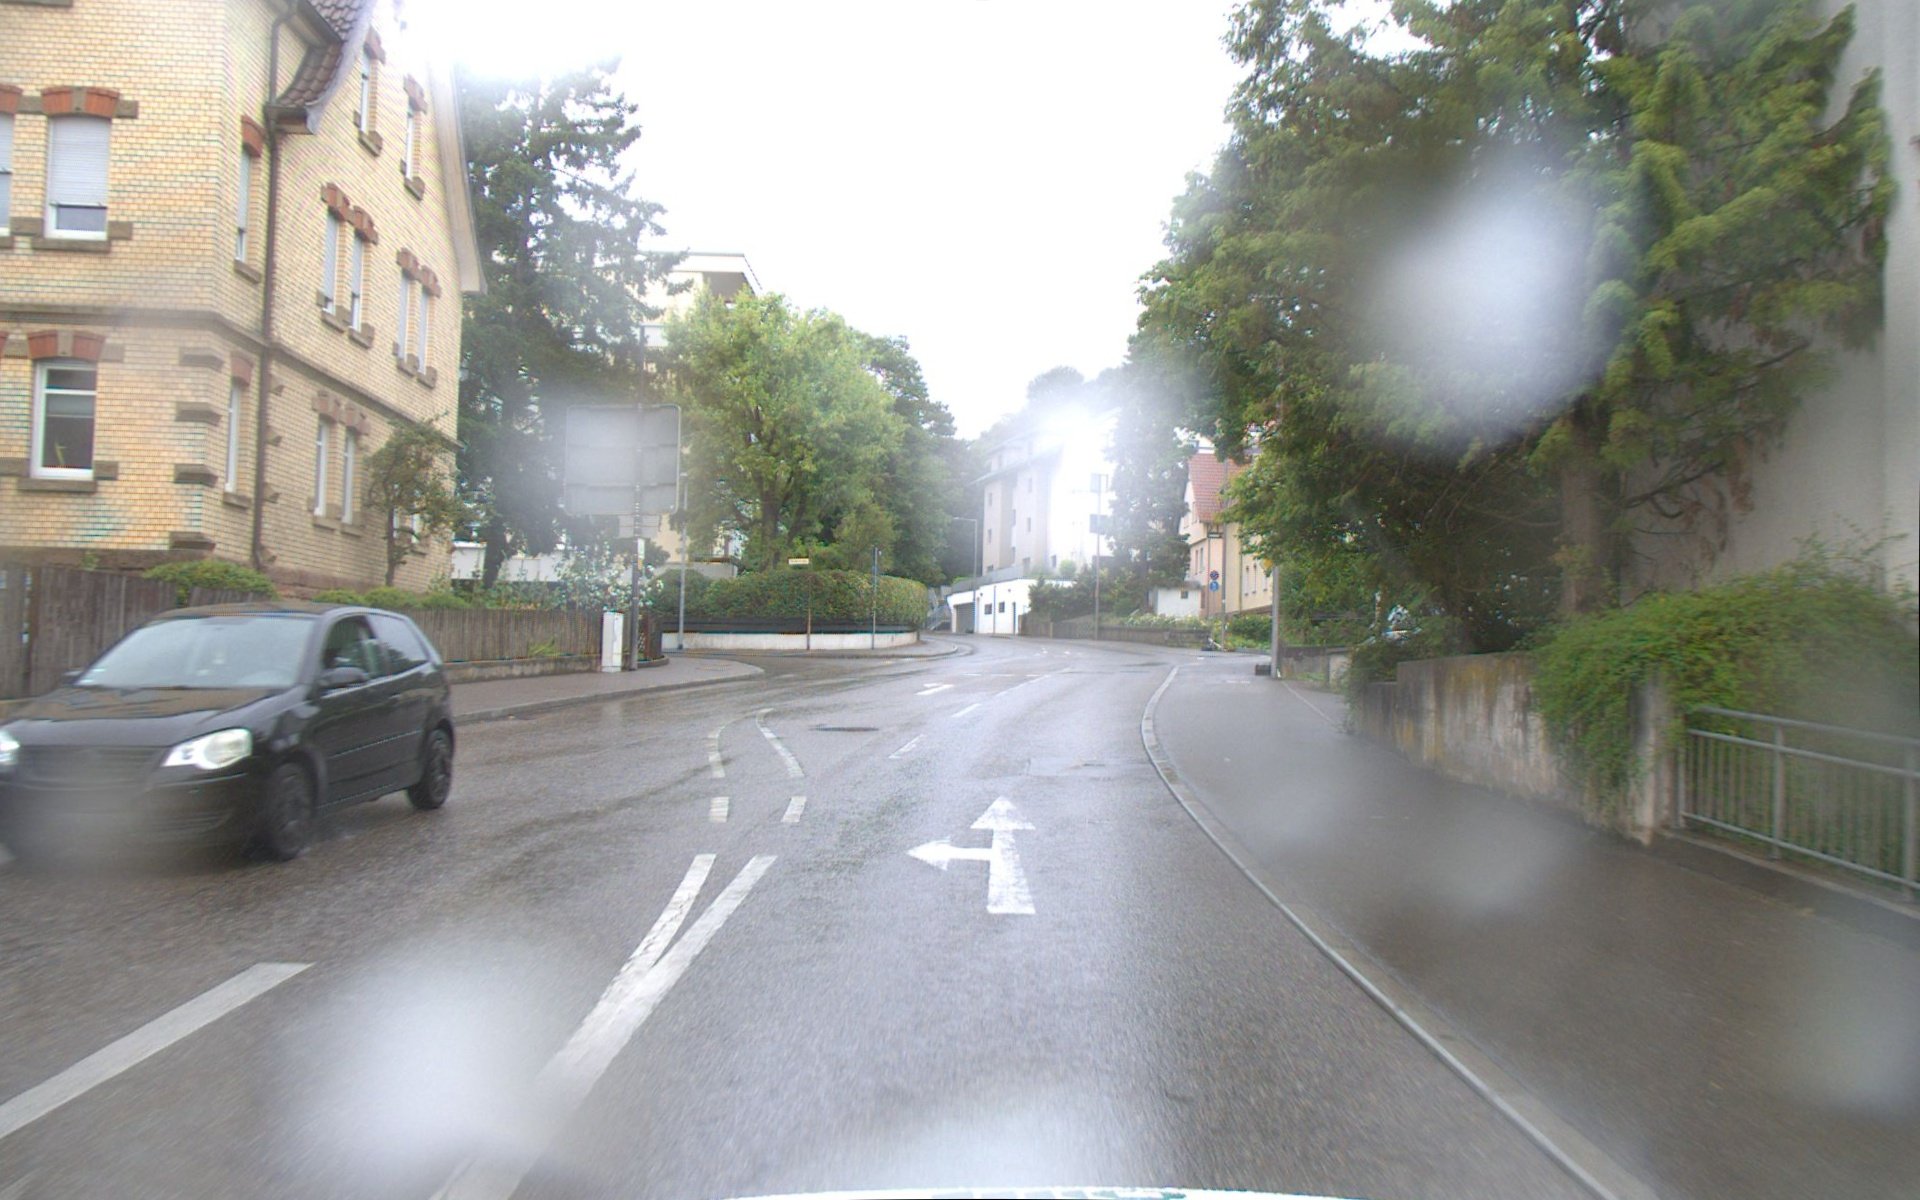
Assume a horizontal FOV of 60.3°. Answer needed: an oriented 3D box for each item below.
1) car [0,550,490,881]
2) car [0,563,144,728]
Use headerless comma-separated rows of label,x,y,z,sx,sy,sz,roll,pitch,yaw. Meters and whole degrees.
car,-4.488,0.599,10.480,1.709,1.599,3.814,4,0,2
car,-9.892,0.402,16.288,1.734,1.529,3.882,2,0,0
